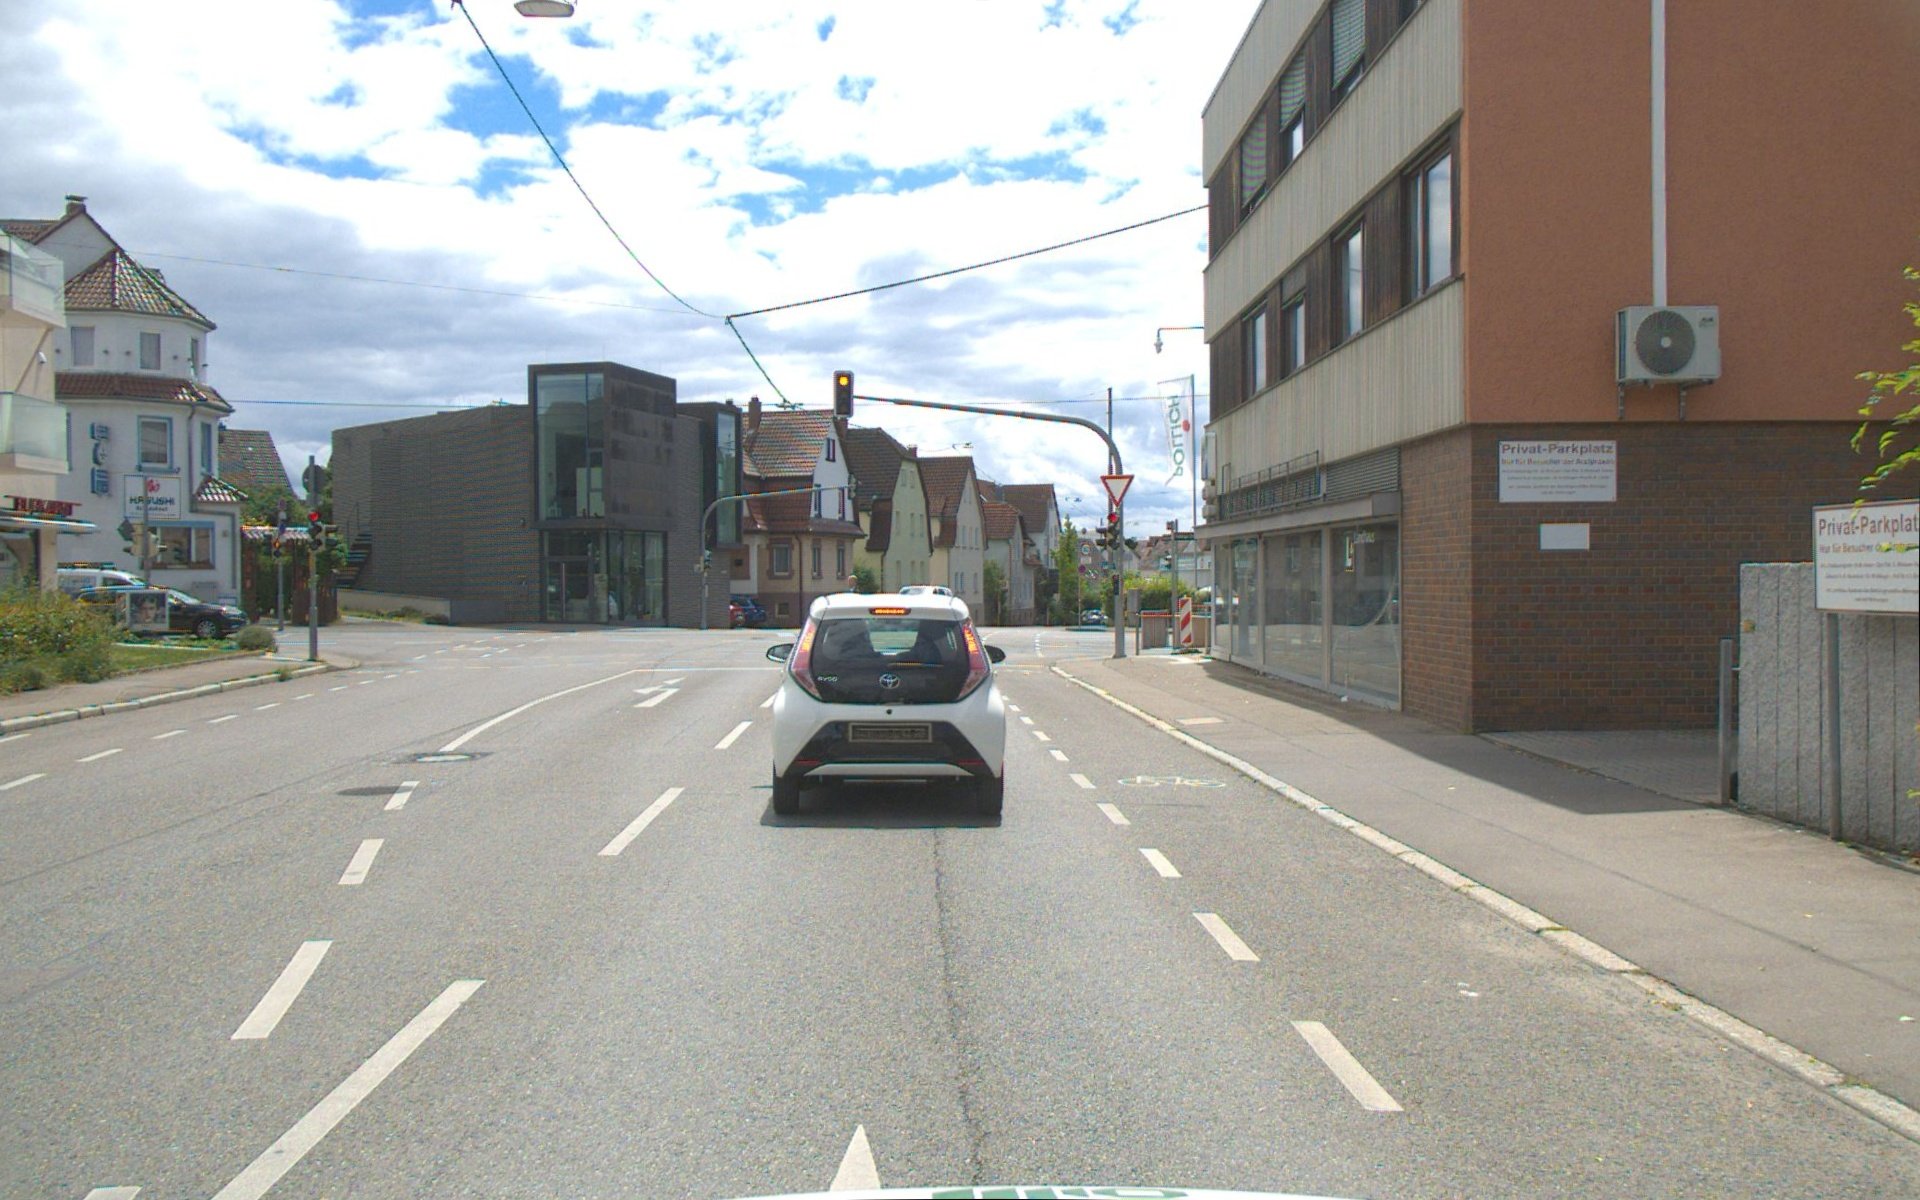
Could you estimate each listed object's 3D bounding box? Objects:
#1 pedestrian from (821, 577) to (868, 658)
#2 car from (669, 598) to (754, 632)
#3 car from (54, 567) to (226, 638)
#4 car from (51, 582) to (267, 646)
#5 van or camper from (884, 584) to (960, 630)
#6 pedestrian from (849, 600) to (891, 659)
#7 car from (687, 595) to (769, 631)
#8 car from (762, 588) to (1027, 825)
[{"bbox_3d":[-2.522,0.377,36.037,0.811,1.751,0.812,0,0,-22],"label":"pedestrian"},{"bbox_3d":[-11.626,0.701,77.532,3.537,1.444,1.693,1,0,10],"label":"car"},{"bbox_3d":[-23.542,0.074,47.628,3.989,1.881,1.994,1,0,-13],"label":"car"},{"bbox_3d":[-21.550,0.370,44.683,4.806,1.605,1.996,1,0,-9],"label":"car"},{"bbox_3d":[-1.669,0.331,74.631,2.070,1.959,5.289,1,0,14],"label":"van or camper"},{"bbox_3d":[-1.934,0.634,35.479,0.723,1.243,0.641,0,0,-23],"label":"pedestrian"},{"bbox_3d":[-11.186,0.617,79.791,3.537,1.633,1.693,1,0,10],"label":"car"},{"bbox_3d":[-0.502,0.681,12.233,1.663,1.482,3.297,1,0,-3],"label":"car"}]
